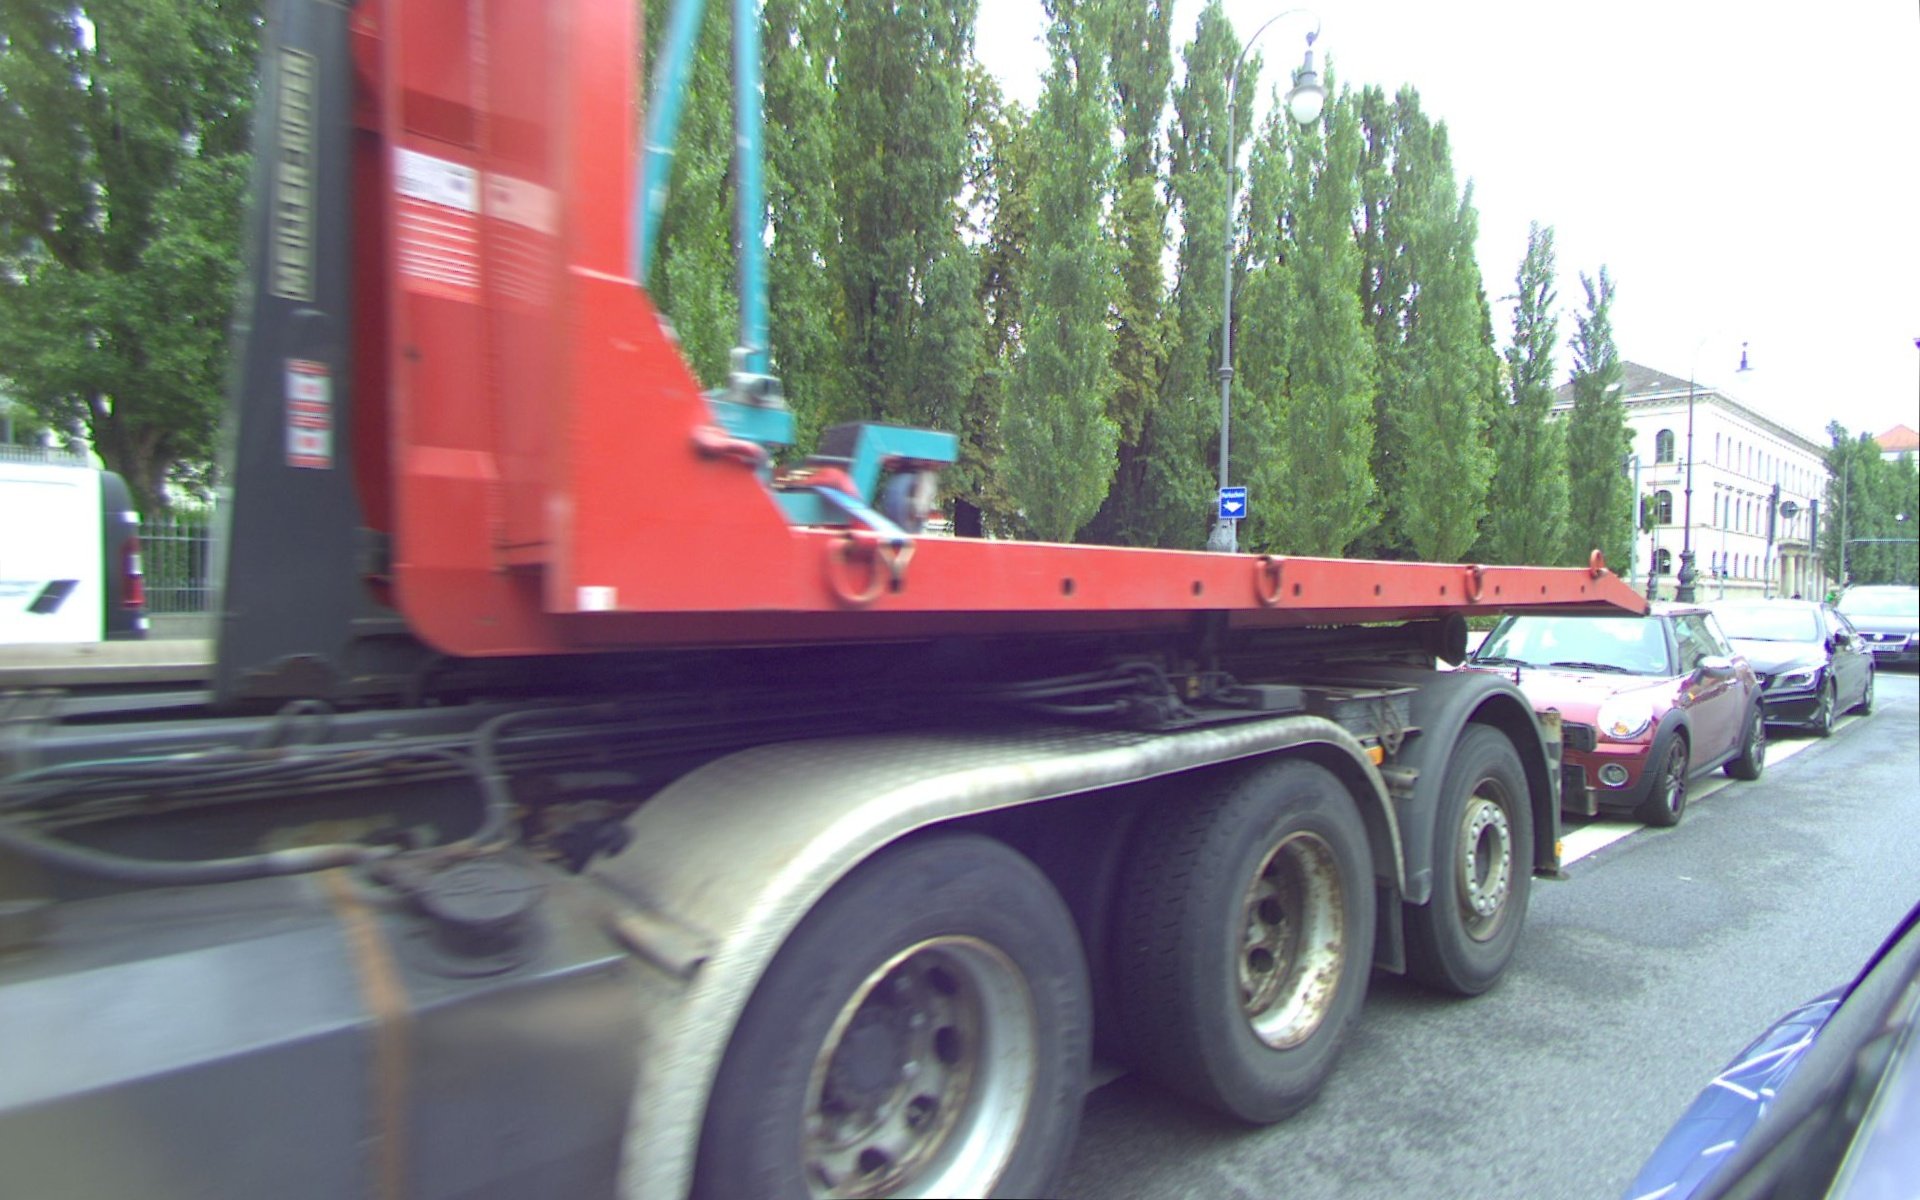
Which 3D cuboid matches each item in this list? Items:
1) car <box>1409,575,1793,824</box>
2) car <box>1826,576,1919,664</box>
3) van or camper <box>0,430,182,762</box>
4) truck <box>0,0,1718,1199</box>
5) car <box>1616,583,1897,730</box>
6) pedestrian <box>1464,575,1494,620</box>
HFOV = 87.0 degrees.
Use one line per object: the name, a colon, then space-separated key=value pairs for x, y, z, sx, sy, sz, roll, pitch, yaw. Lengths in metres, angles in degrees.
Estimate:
car: x=5.098 y=0.577 z=7.874 sx=3.589 sy=1.487 sz=1.563 roll=0 pitch=2 yaw=-41
car: x=19.182 y=0.359 z=20.733 sx=1.843 sy=1.627 sz=4.297 roll=2 pitch=2 yaw=45
van or camper: x=-7.708 y=-0.027 z=5.910 sx=4.901 sy=2.039 sz=2.006 roll=0 pitch=0 yaw=-42
truck: x=-0.915 y=-0.473 z=2.818 sx=10.101 sy=3.609 sz=2.850 roll=0 pitch=1 yaw=-41
car: x=9.540 y=0.528 z=11.993 sx=4.361 sy=1.409 sz=1.845 roll=0 pitch=2 yaw=-41
pedestrian: x=21.471 y=-0.113 z=41.864 sx=0.869 sy=1.793 sz=0.811 roll=0 pitch=1 yaw=-42
